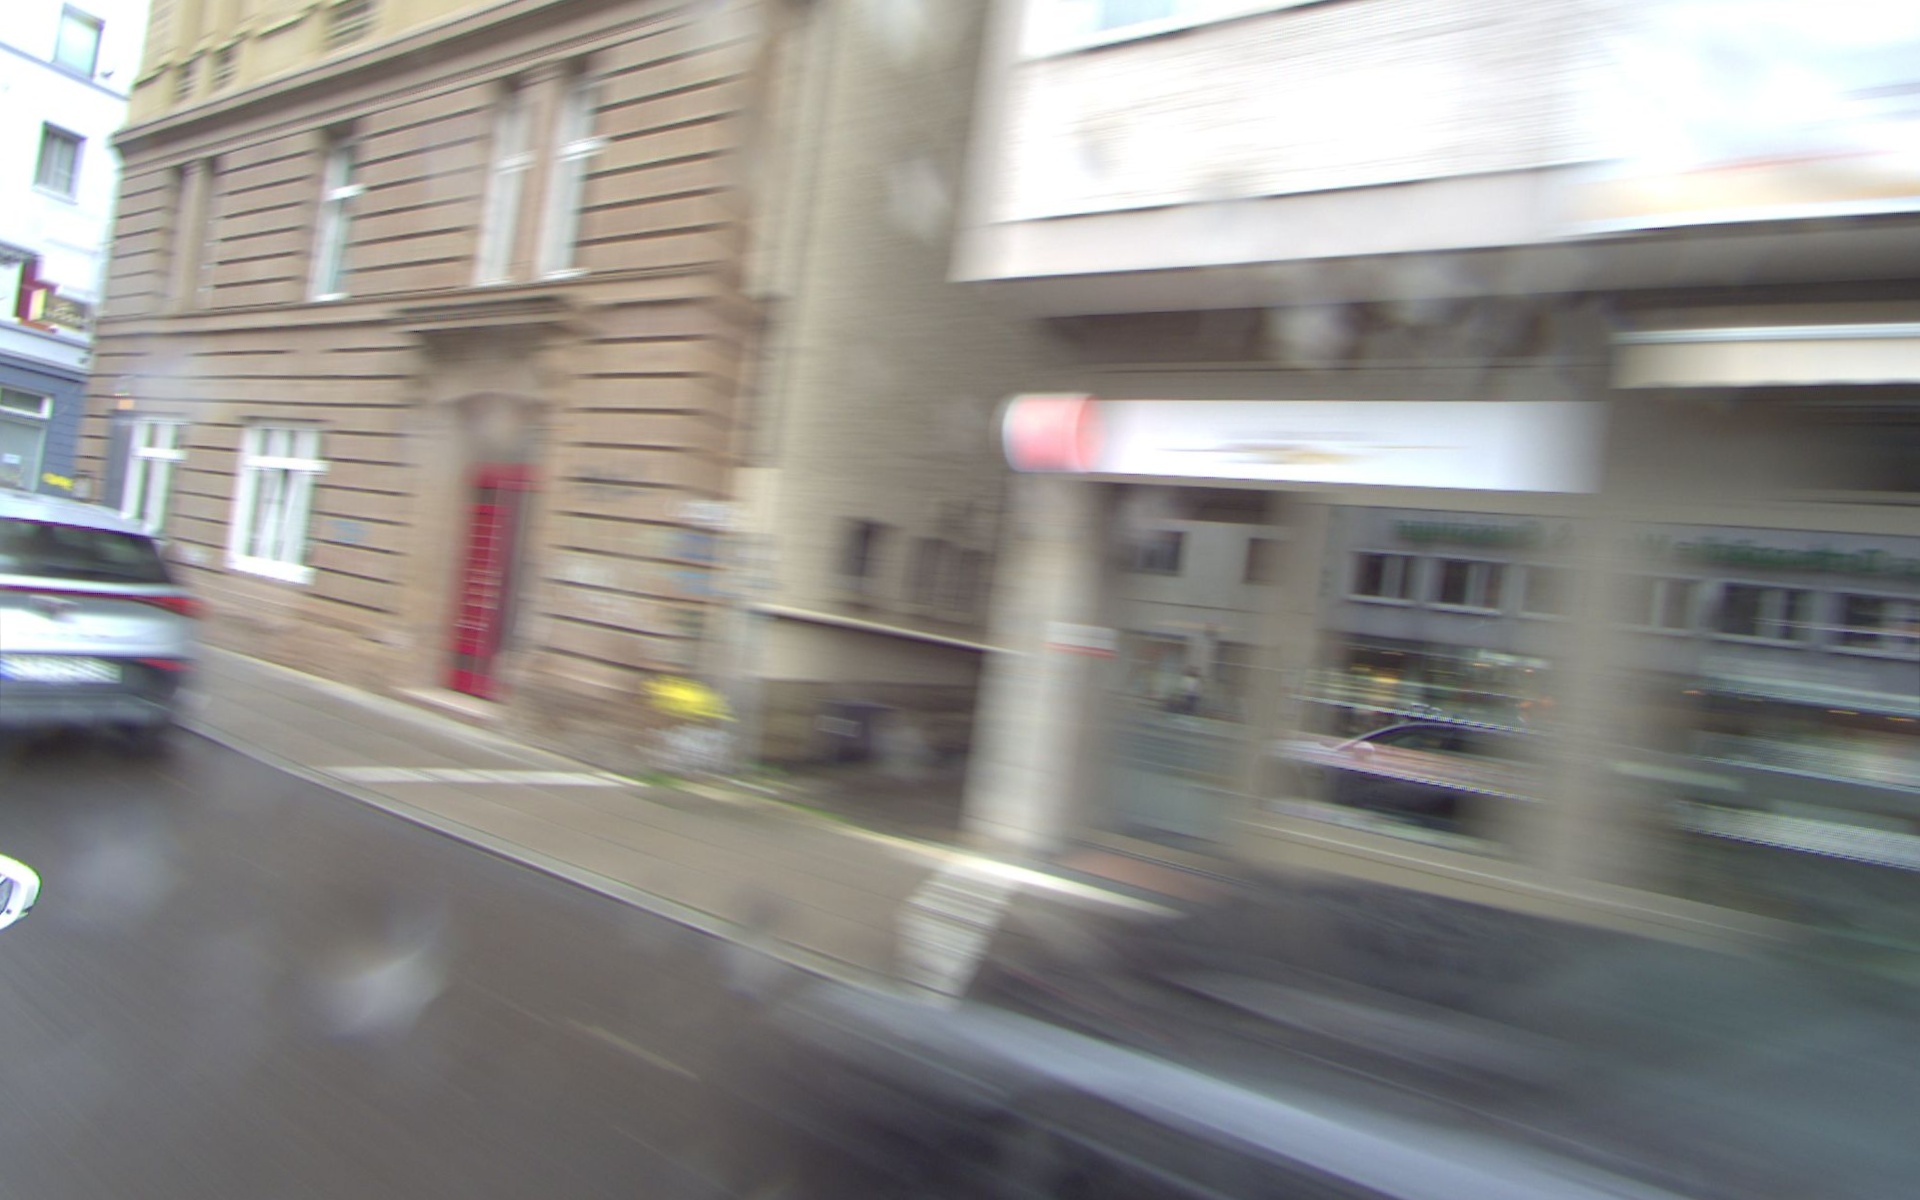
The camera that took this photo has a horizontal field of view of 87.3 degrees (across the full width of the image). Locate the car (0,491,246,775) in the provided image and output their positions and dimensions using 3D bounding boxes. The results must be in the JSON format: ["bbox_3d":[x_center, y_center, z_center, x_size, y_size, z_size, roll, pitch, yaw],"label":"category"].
[{"bbox_3d":[-6.970,-0.015,6.861,4.282,1.540,1.750,8,-1,31],"label":"car"}]

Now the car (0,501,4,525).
[{"bbox_3d":[-10.867,-0.451,9.410,4.188,1.533,1.724,8,-2,33],"label":"car"}]

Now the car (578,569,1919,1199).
[{"bbox_3d":[1.744,1.037,1.503,4.497,1.612,1.997,6,-2,32],"label":"car"}]

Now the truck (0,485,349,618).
[{"bbox_3d":[-15.425,-0.851,20.049,2.048,1.839,5.071,8,-1,29],"label":"truck"}]
